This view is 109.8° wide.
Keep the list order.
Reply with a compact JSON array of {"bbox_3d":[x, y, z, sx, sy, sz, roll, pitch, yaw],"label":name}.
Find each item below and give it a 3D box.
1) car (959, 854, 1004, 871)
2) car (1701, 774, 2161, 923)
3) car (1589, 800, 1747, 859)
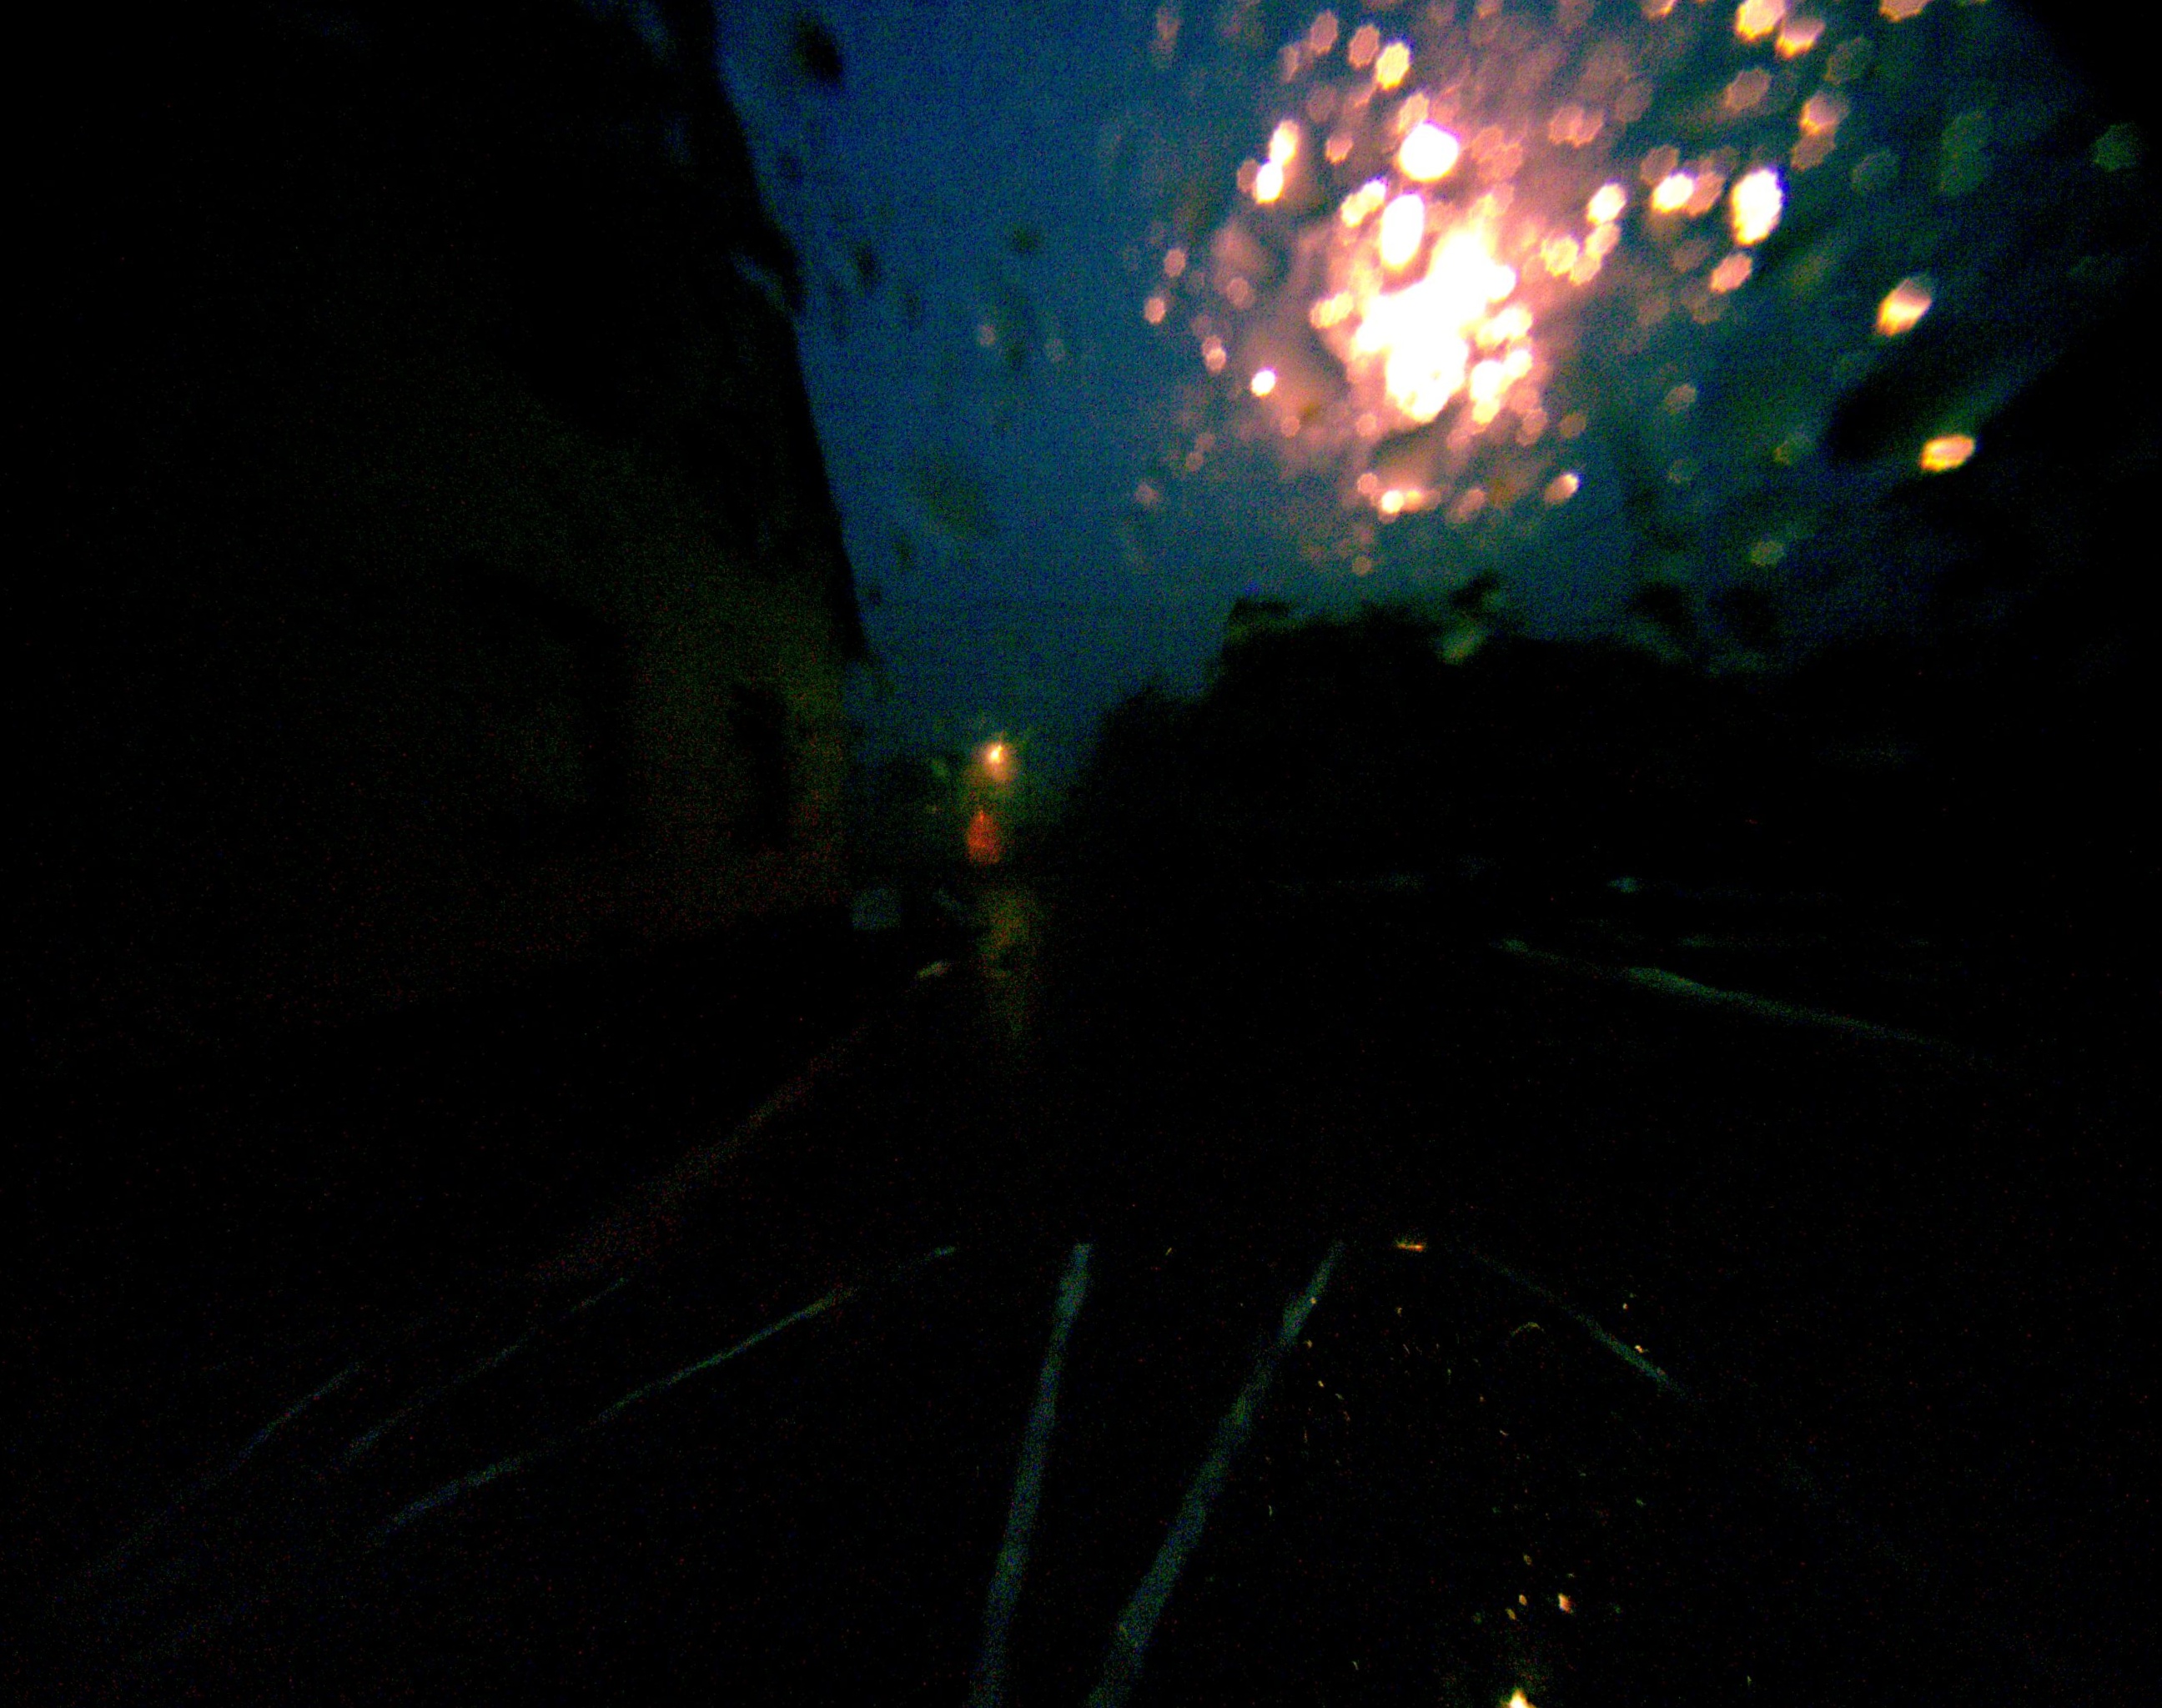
[{"bbox_3d":[-9.315,0.785,71.519,3.793,1.365,1.622,-4,2,-33],"label":"car"},{"bbox_3d":[10.978,-0.114,9.940,1.881,1.496,3.992,-4,2,-24],"label":"car"},{"bbox_3d":[18.100,-0.747,23.453,4.003,1.521,1.996,-4,2,-20],"label":"car"}]
